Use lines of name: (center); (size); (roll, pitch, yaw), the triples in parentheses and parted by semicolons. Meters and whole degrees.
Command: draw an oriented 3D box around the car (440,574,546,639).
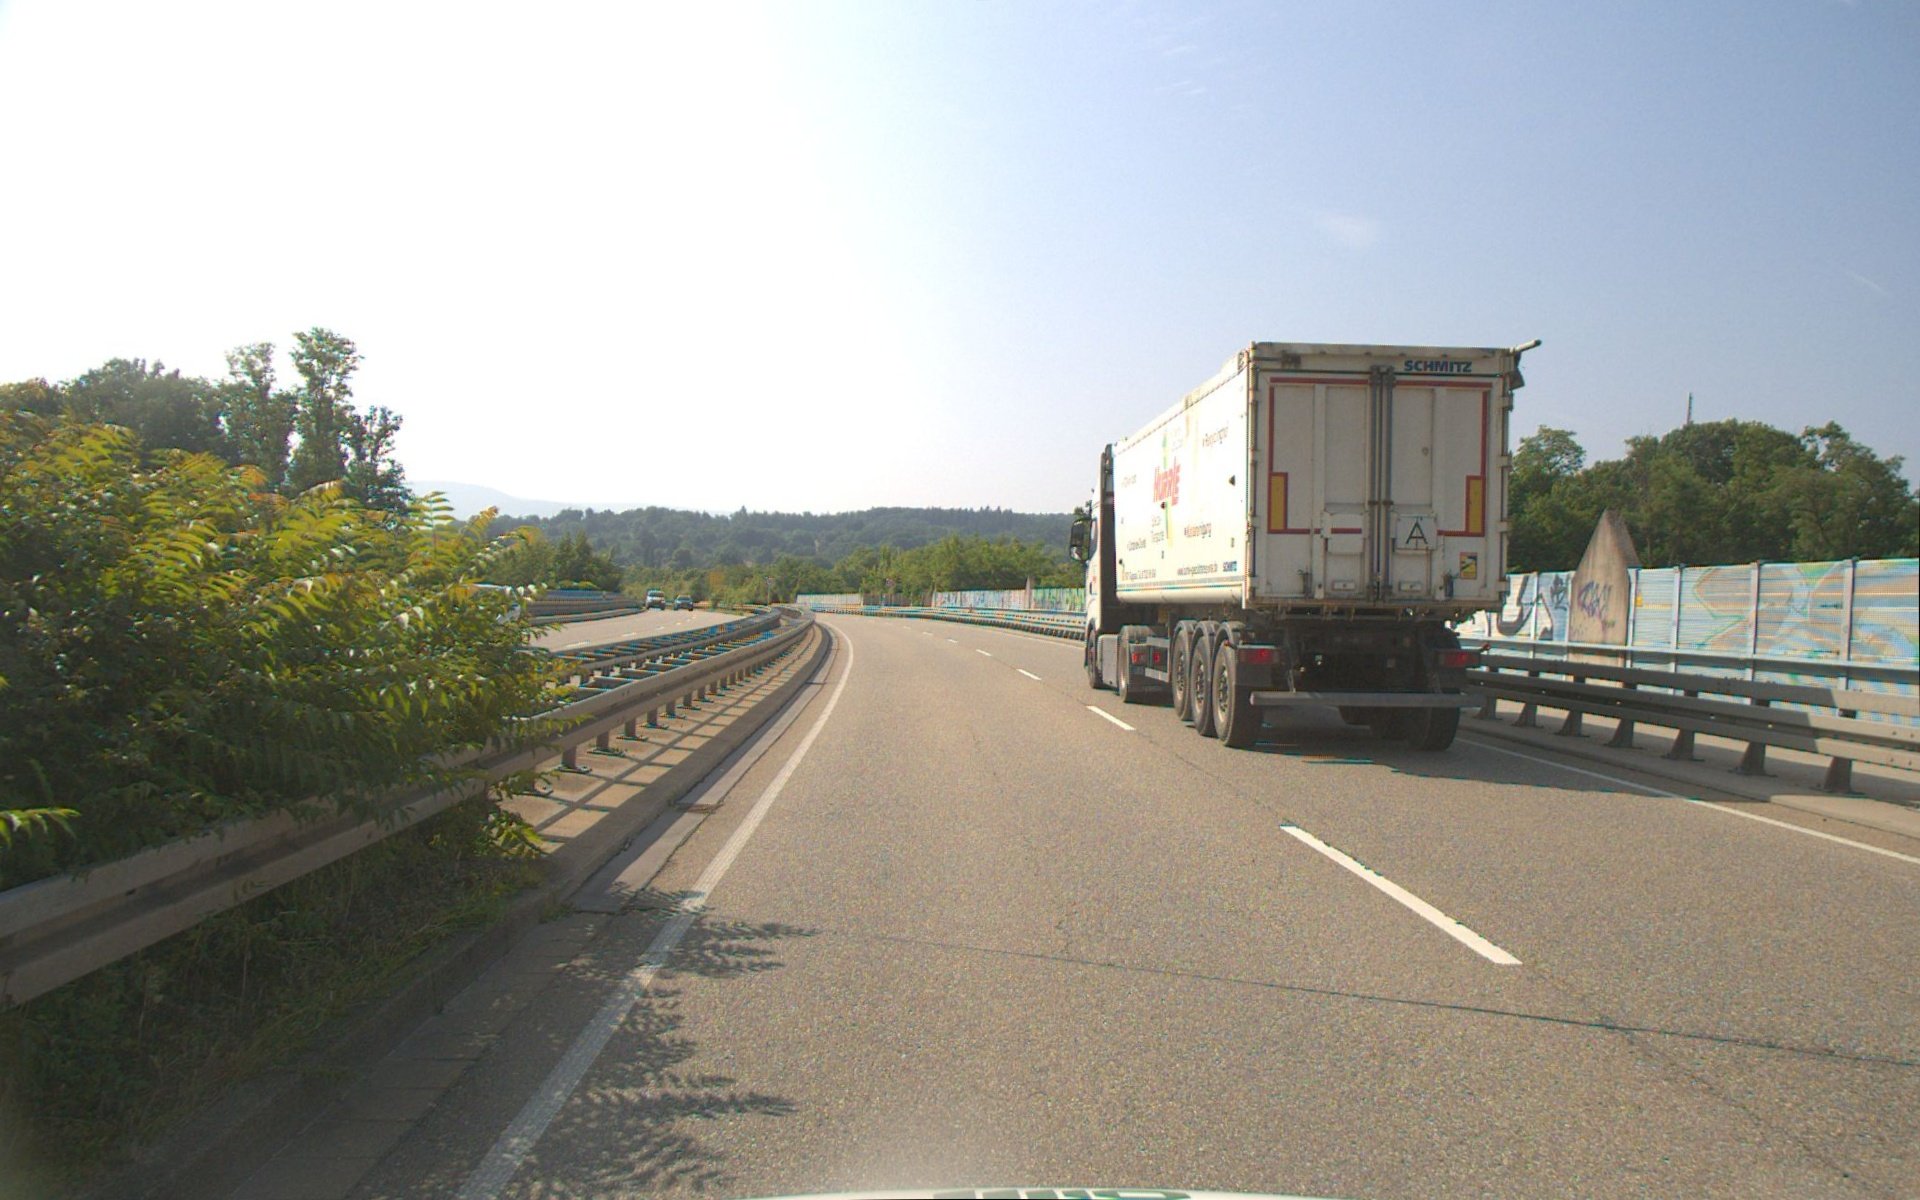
car: (-11.938, 0.146, 42.516); (1.614, 1.529, 3.999); (2, 0, -1)

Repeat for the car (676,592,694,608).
car: (-30.763, 0.003, 184.979); (1.830, 1.635, 4.410); (2, 0, -8)

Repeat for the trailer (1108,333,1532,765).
trailer: (3.793, -0.516, 20.230); (2.626, 3.975, 9.668); (1, 0, -3)

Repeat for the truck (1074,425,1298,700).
truck: (3.500, -0.580, 26.979); (2.605, 3.964, 5.646); (1, 1, -2)

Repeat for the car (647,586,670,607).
car: (-31.698, -0.391, 173.932); (2.000, 2.041, 5.298); (2, 0, -8)
